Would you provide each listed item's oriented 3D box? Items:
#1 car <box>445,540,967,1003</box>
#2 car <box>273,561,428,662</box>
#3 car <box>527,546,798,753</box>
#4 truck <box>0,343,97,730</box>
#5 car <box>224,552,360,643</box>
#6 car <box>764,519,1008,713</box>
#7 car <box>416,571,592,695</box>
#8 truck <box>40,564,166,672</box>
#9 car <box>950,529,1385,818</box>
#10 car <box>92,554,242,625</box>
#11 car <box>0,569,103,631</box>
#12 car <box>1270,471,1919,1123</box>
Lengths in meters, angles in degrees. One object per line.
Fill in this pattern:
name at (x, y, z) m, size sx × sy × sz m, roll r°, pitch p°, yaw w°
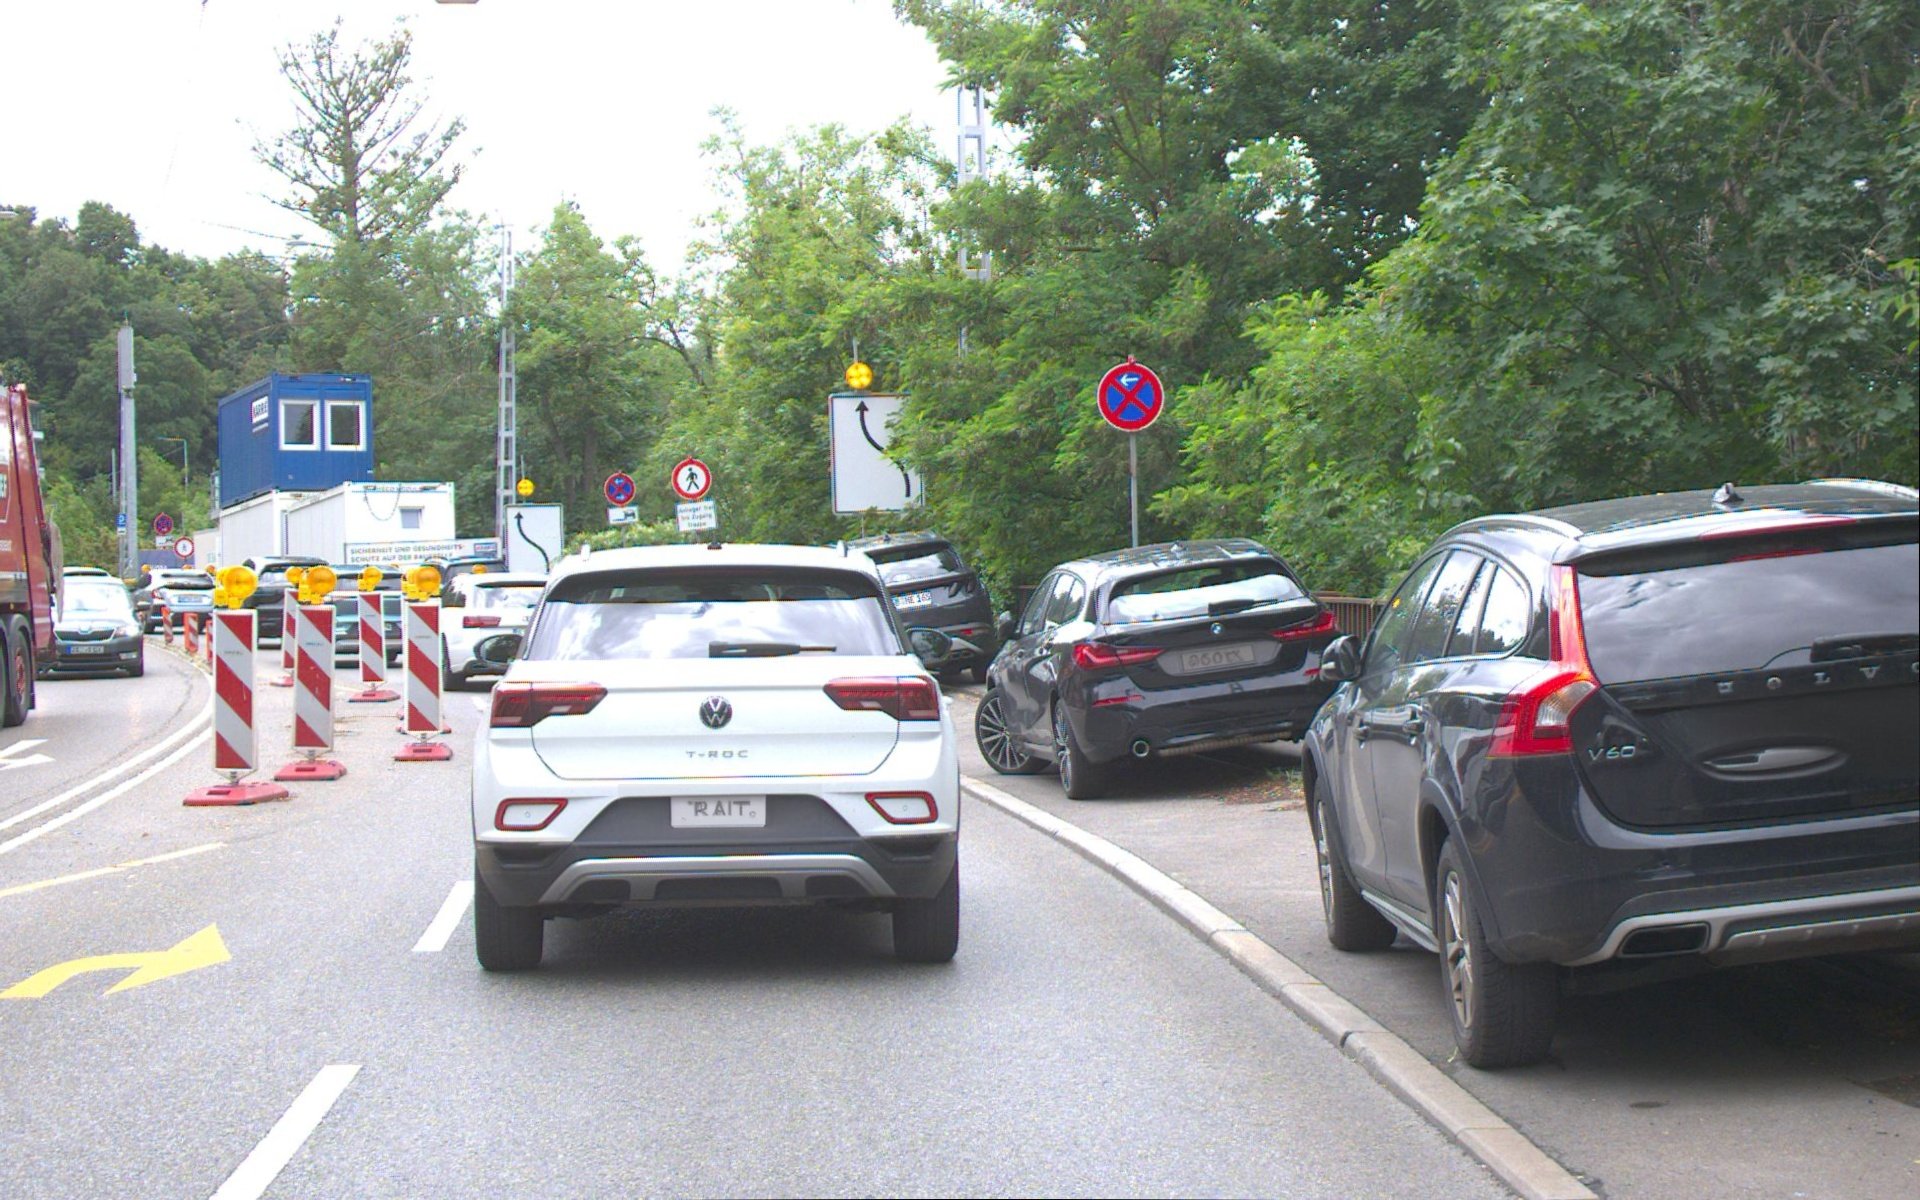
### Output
car at (-0.937, 0.562, 13.634) m, size 1.757 × 1.550 × 3.796 m, roll -1°, pitch 1°, yaw -2°
car at (-9.513, 0.198, 53.447) m, size 1.993 × 1.409 × 4.151 m, roll -3°, pitch 0°, yaw -15°
car at (-2.574, 0.369, 29.006) m, size 1.757 × 1.604 × 3.796 m, roll -1°, pitch 1°, yaw -13°
truck at (-10.605, -0.555, 32.908) m, size 2.945 × 3.685 × 9.921 m, roll -3°, pitch 1°, yaw -6°
car at (-12.360, -0.079, 63.423) m, size 1.993 × 1.551 × 4.152 m, roll -2°, pitch 1°, yaw -17°
car at (-0.850, 0.132, 36.318) m, size 1.849 × 1.651 × 4.143 m, roll -9°, pitch 2°, yaw -8°
car at (-5.815, 0.382, 43.503) m, size 1.757 × 1.466 × 3.796 m, roll -1°, pitch 1°, yaw -14°
truck at (-12.449, 0.231, 49.940) m, size 1.662 × 1.438 × 4.028 m, roll -2°, pitch 1°, yaw -14°
car at (1.203, 0.397, 21.930) m, size 1.807 × 1.458 × 4.195 m, roll -7°, pitch 2°, yaw -8°
car at (-17.590, -0.220, 76.174) m, size 1.993 × 1.445 × 4.150 m, roll -2°, pitch 0°, yaw -31°
car at (-23.317, 0.015, 87.100) m, size 1.993 × 1.445 × 4.150 m, roll -2°, pitch 0°, yaw -30°
car at (2.181, 0.438, 10.834) m, size 1.765 × 1.516 × 4.394 m, roll -6°, pitch 1°, yaw -1°
